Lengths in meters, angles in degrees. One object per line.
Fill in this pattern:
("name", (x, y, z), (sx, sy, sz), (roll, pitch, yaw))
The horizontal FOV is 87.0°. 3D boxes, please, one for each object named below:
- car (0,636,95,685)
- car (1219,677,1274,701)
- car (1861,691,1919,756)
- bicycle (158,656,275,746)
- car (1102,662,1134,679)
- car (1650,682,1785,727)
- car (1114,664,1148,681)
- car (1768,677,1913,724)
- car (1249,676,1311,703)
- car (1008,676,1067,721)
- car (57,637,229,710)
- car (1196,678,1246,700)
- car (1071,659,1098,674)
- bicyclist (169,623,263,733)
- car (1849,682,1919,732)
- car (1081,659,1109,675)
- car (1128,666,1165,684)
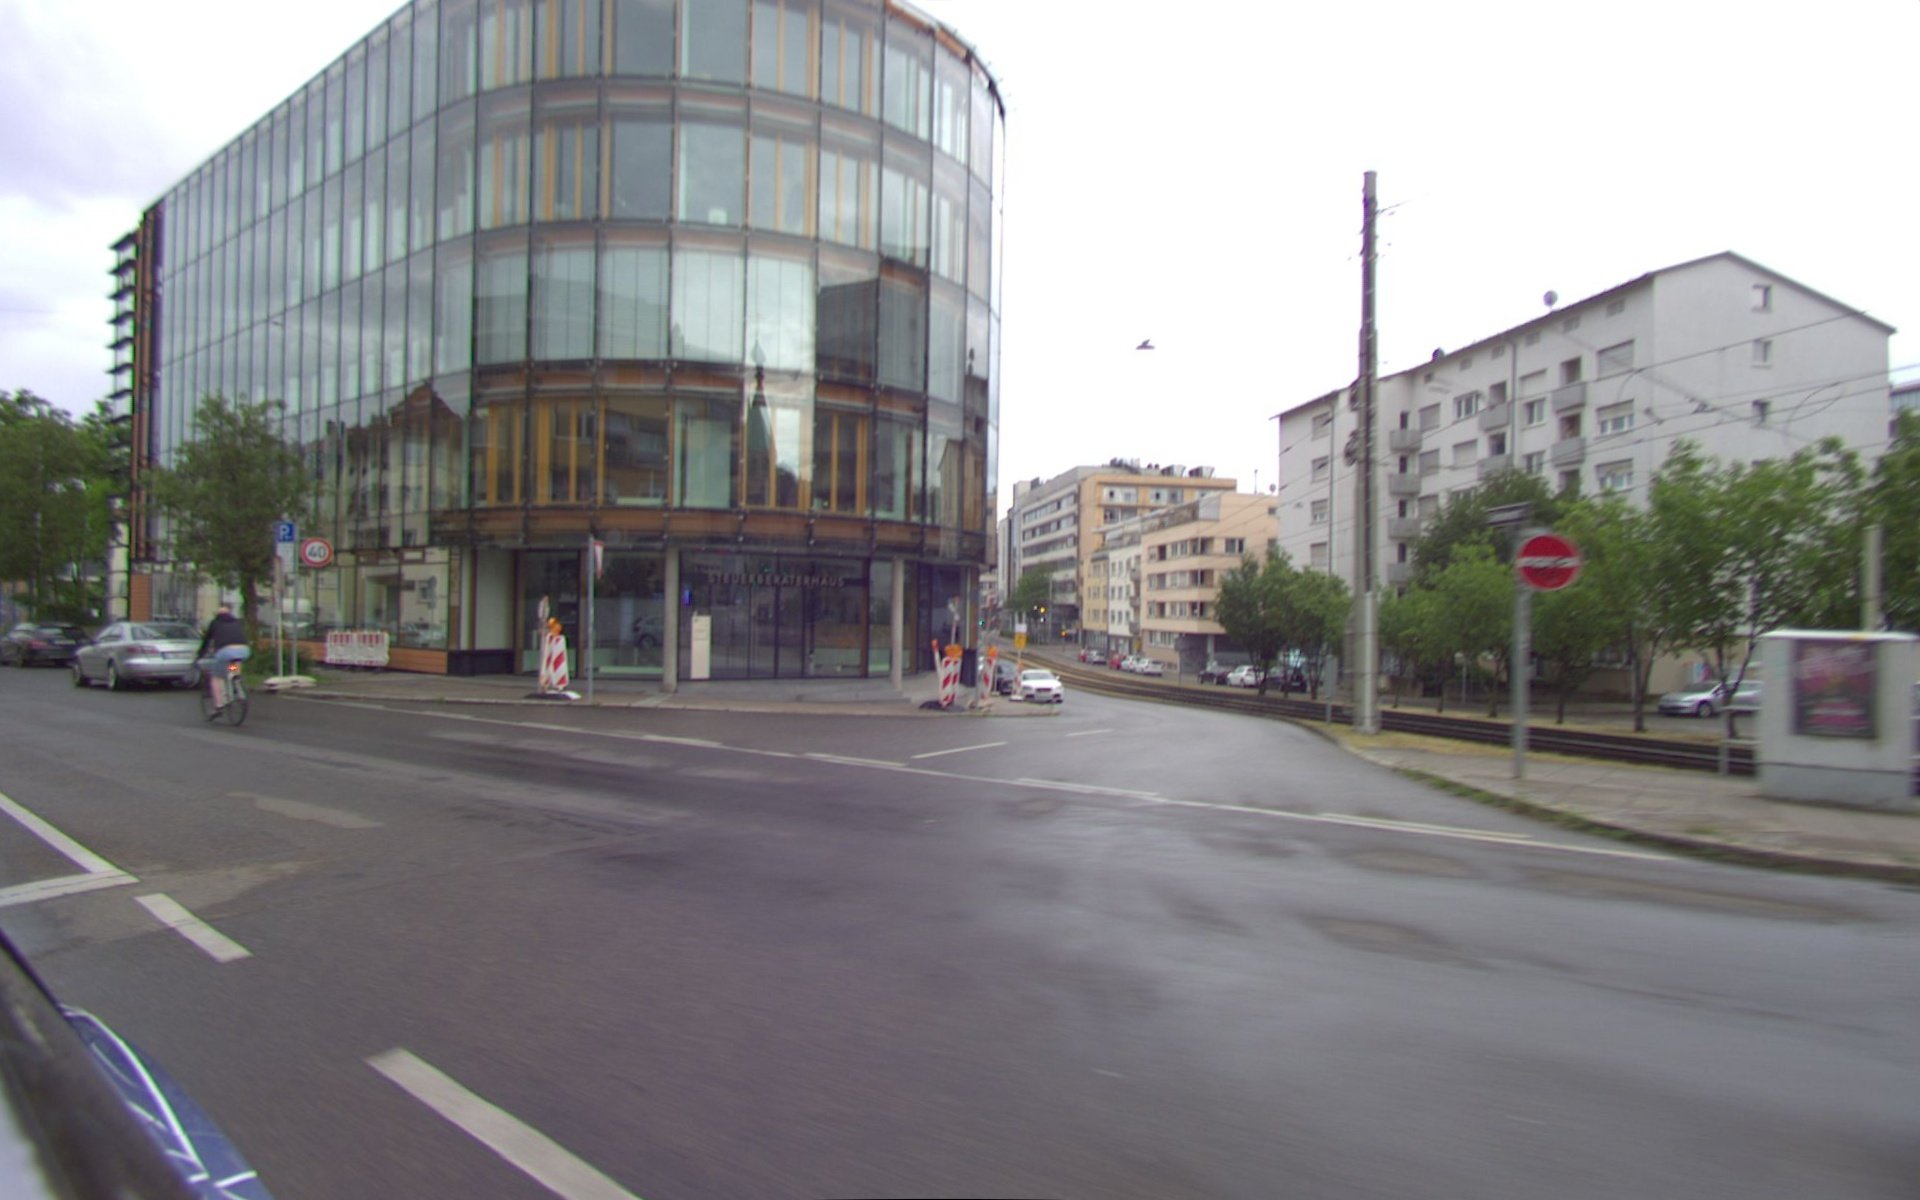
("car", (-29.461, 1.892, 32.291), (4.318, 1.475, 1.708), (-1, -3, 34))
("car", (19.106, 5.985, 67.664), (1.969, 1.520, 4.317), (0, -5, -6))
("car", (23.944, 2.875, 23.411), (1.969, 1.520, 4.317), (0, -5, -6))
("bicycle", (-10.746, 1.411, 14.606), (2.124, 1.157, 0.816), (-1, -2, 38))
("car", (15.688, 7.064, 100.727), (1.969, 1.520, 4.317), (0, -5, -6))
("car", (30.474, 4.179, 40.783), (4.126, 1.574, 2.004), (0, 0, -8))
("car", (16.180, 6.880, 95.978), (1.969, 1.520, 4.707), (0, -5, -7))
("car", (36.181, 4.111, 41.649), (4.512, 1.674, 2.004), (0, 0, -8))
("car", (19.541, 5.505, 62.065), (1.969, 1.520, 4.317), (0, -5, -6))
("car", (3.211, 4.120, 42.645), (1.889, 1.507, 4.003), (0, 0, -4))
("car", (-17.925, 1.535, 22.131), (4.637, 1.405, 1.841), (-1, -2, 37))
("car", (18.629, 6.363, 72.359), (1.969, 1.520, 4.317), (0, -5, -6))
("car", (14.051, 7.569, 114.486), (1.969, 1.520, 4.317), (0, -5, -6))
("bicyclist", (-10.738, 1.087, 14.598), (1.139, 1.473, 0.816), (0, 0, 38))
("car", (32.521, 3.554, 33.996), (3.936, 1.454, 1.829), (0, 0, -8))
("car", (14.607, 7.276, 109.868), (1.969, 1.520, 4.317), (0, -5, -6))
("car", (16.615, 6.693, 90.315), (1.969, 1.520, 4.317), (0, -5, -6))
